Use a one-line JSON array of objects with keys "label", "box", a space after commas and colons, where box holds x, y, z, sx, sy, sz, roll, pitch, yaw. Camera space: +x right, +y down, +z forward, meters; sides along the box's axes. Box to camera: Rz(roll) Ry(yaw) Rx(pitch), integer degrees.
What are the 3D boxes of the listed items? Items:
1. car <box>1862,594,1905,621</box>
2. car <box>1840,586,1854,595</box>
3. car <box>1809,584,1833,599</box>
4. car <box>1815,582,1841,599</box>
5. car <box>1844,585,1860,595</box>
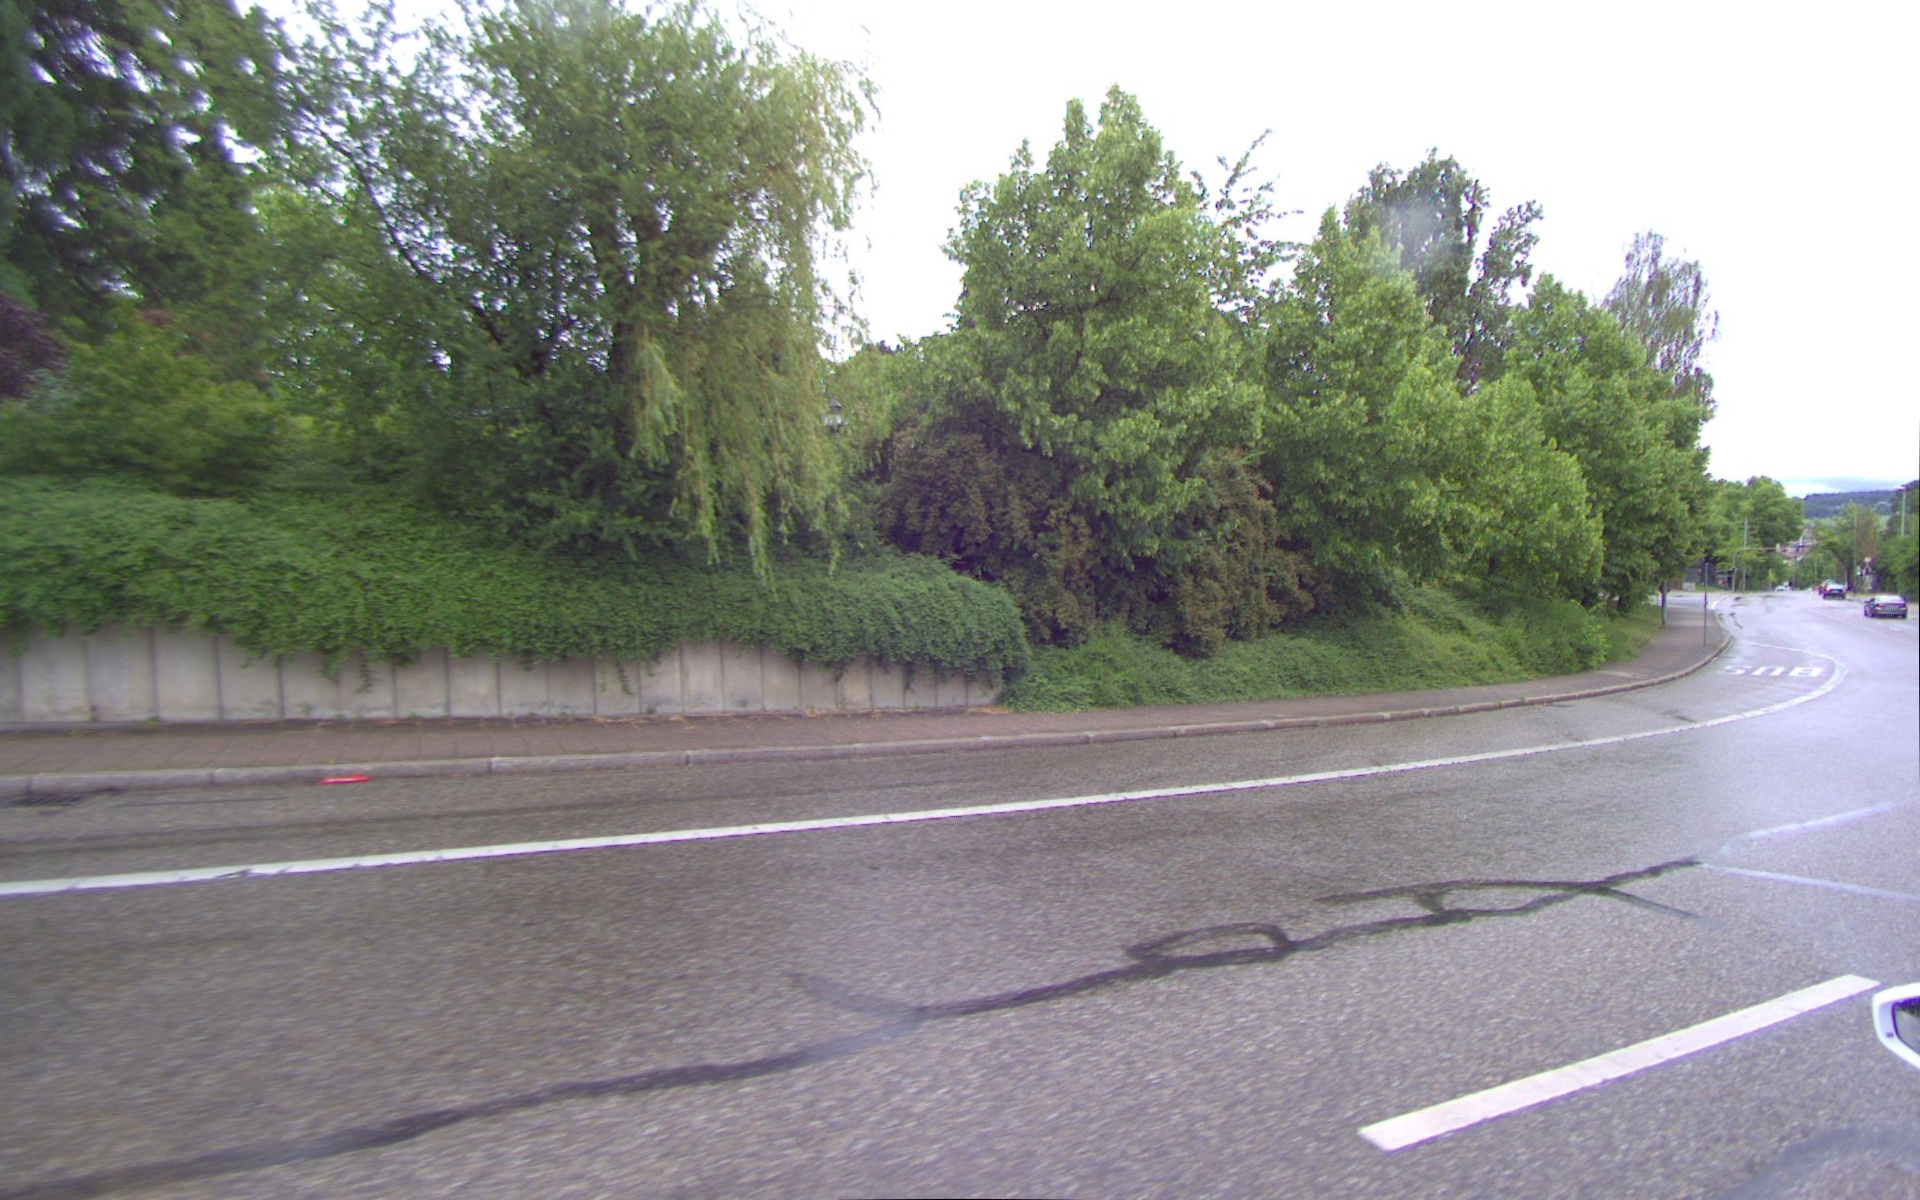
[{"label": "car", "box": [60.147, 0.462, 65.439, 1.700, 1.484, 3.981, 6, 5, 39]}, {"label": "car", "box": [144.754, -1.524, 163.943, 1.702, 1.484, 3.979, 0, 1, 41]}, {"label": "car", "box": [94.036, -0.927, 109.719, 1.700, 1.484, 3.981, 6, 5, 39]}, {"label": "car", "box": [84.627, -0.949, 97.944, 1.700, 1.484, 3.981, 6, 5, 39]}, {"label": "car", "box": [135.212, -1.514, 152.245, 1.702, 1.484, 3.979, 0, 1, 41]}]
